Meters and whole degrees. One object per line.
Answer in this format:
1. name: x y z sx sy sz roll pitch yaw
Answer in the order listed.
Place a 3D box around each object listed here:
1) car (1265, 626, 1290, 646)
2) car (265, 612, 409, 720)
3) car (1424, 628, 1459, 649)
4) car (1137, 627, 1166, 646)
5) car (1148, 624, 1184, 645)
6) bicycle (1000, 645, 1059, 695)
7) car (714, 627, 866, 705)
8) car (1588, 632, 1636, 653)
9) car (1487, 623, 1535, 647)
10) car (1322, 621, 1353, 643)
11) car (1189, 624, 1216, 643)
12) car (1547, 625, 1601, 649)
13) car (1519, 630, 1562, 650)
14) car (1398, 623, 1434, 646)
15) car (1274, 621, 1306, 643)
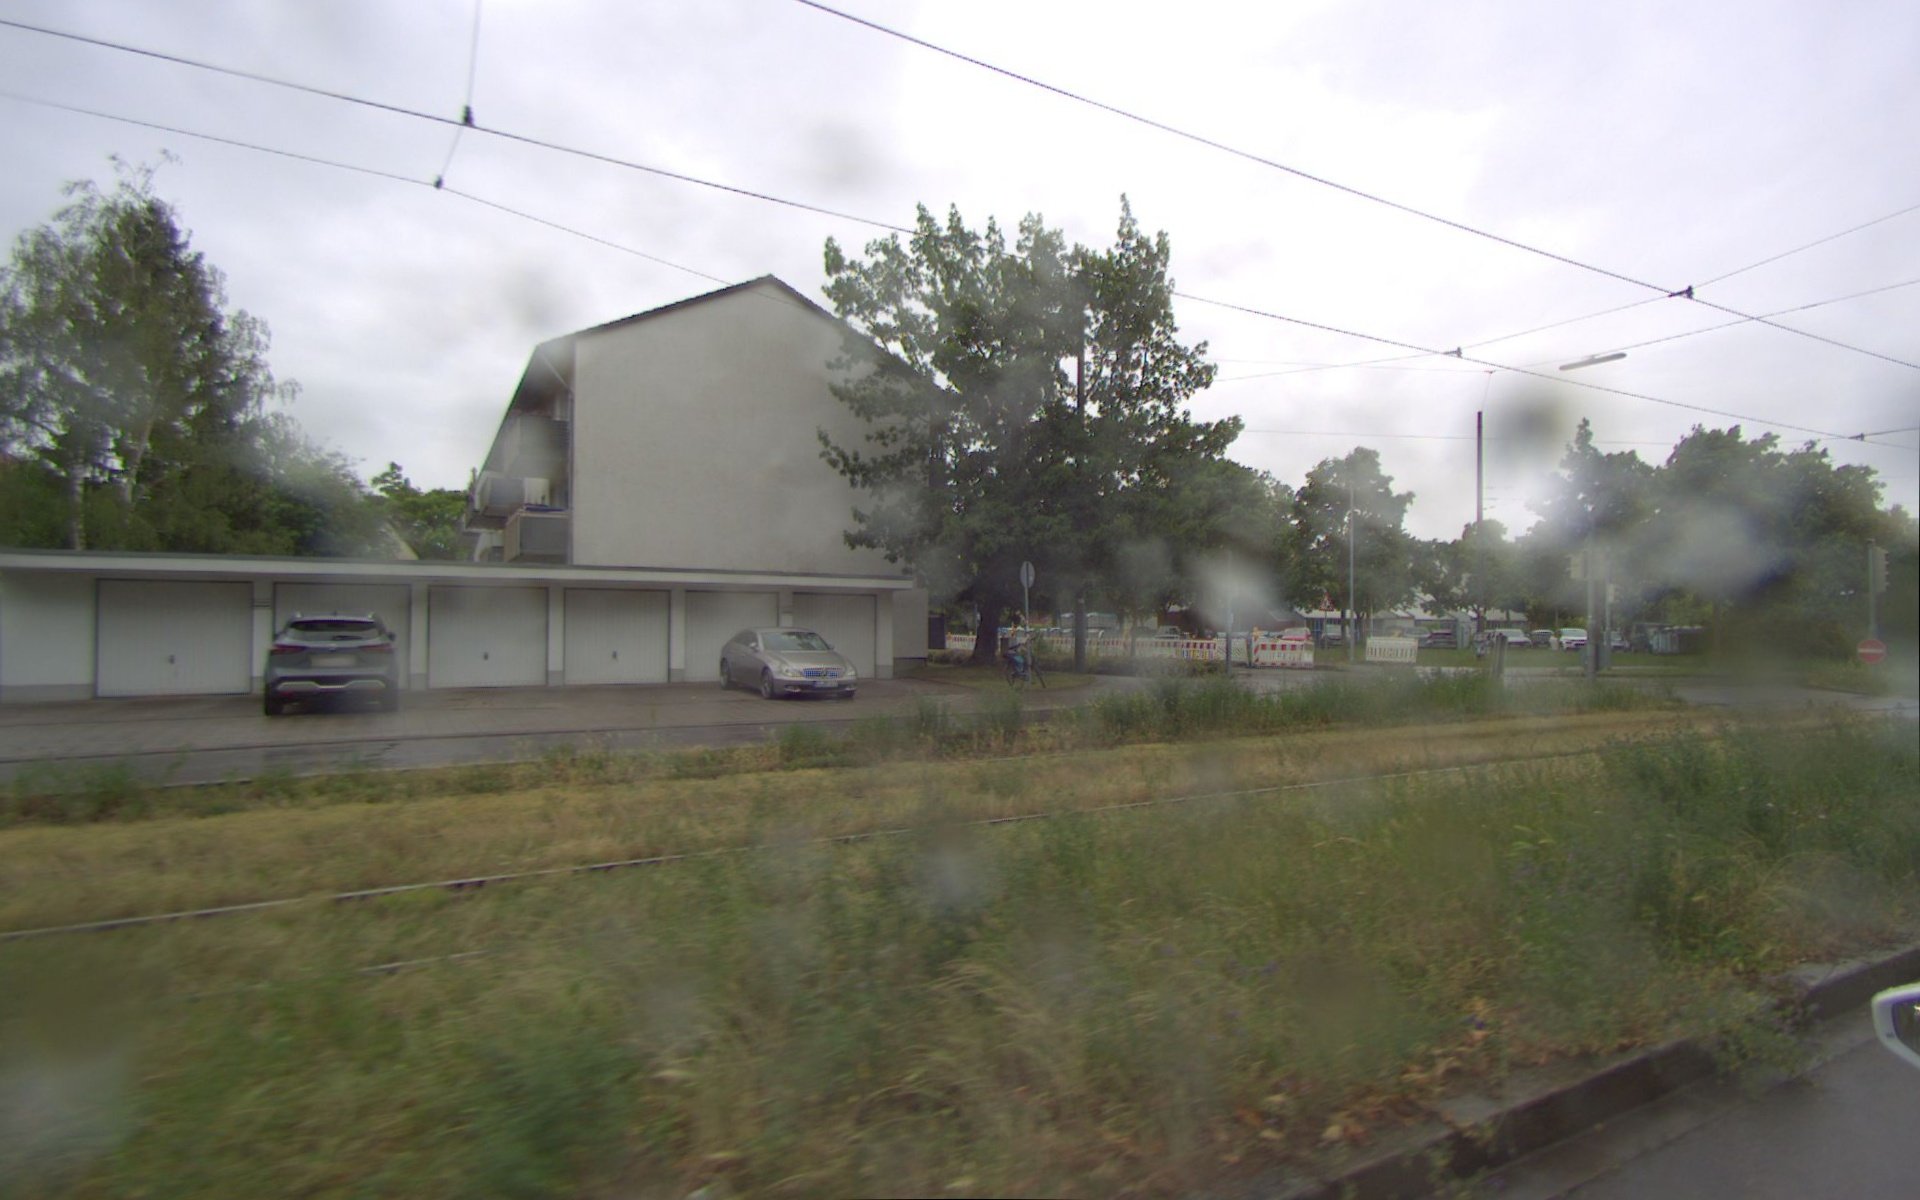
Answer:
1. car: 22.392 2.522 70.727 1.632 1.342 3.743 -1 -2 18
2. car: -10.540 1.046 17.127 1.871 1.597 3.967 1 -2 -31
3. car: 32.048 2.571 66.982 1.632 1.342 3.743 -1 -2 18
4. car: 14.176 2.702 74.116 1.632 1.342 3.743 -1 -2 18
5. car: 12.893 2.173 62.641 1.633 1.265 3.742 -1 -2 21
6. bicycle: 1.639 1.606 23.382 0.474 1.033 1.836 3 1 35
7. car: -3.738 1.296 21.305 1.825 1.383 4.707 1 -1 -28
8. car: 41.382 2.689 63.815 1.632 1.265 3.743 -1 -2 18
9. car: 30.150 1.930 55.049 1.632 1.265 3.743 -1 -2 18
10. car: 21.959 1.881 58.478 1.633 1.265 3.742 -1 -2 21
11. car: 17.682 2.473 73.174 1.632 1.342 3.743 -1 -2 18
12. car: 33.230 1.995 54.459 1.632 1.265 3.743 -1 -2 18
13. car: 37.292 2.574 64.643 1.632 1.265 3.743 -1 -2 18
14. car: 26.188 1.975 57.756 1.633 1.265 3.742 -1 -2 21
15. car: 19.604 1.930 59.582 1.633 1.265 3.742 -1 -2 21
